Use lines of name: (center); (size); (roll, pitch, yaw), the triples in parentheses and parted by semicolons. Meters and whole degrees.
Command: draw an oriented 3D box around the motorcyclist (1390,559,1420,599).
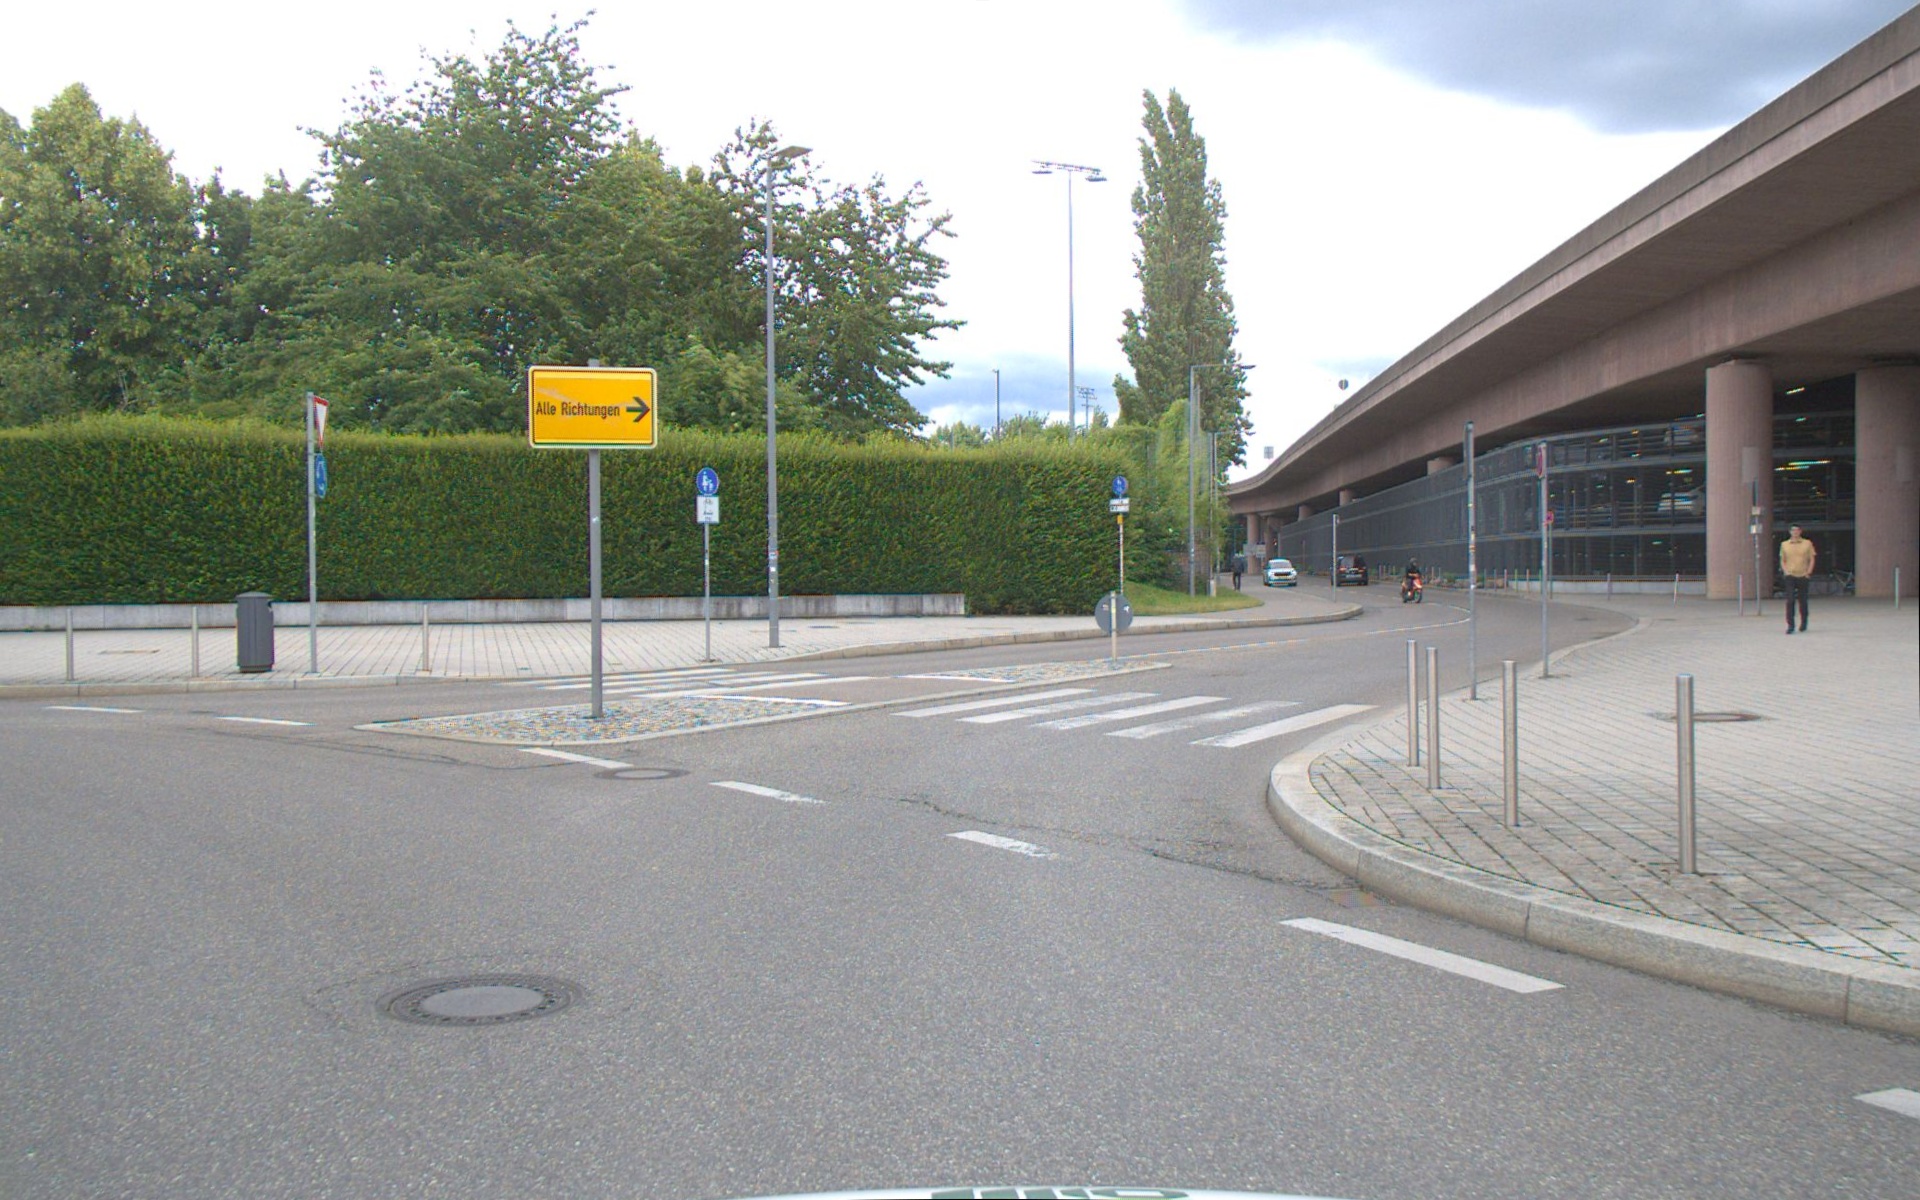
motorcyclist: (16.616, -0.800, 61.792); (0.748, 1.444, 0.867); (-2, 2, -11)

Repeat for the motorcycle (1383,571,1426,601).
motorcycle: (16.609, -0.534, 61.858); (0.733, 1.040, 1.951); (-2, 2, -11)

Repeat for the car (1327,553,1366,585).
car: (22.839, -1.849, 97.828); (1.800, 1.741, 3.709); (-1, 2, 7)

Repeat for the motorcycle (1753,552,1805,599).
motorcycle: (26.686, -0.806, 53.898); (0.630, 1.480, 1.759); (-2, 2, -9)

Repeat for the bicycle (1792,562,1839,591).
bicycle: (30.313, -0.841, 58.608); (1.446, 0.993, 0.450); (0, 2, 33)

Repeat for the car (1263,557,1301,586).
car: (20.404, -1.839, 104.928); (1.825, 1.712, 4.409); (-1, 2, 5)

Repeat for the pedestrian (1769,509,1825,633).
pedestrian: (14.194, -0.505, 28.043); (0.767, 2.048, 1.038); (0, 2, 30)

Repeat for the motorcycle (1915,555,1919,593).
motorcycle: (32.005, -0.860, 54.803); (0.512, 1.241, 1.146); (0, 2, 37)

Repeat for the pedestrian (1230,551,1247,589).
pedestrian: (13.426, -1.463, 79.765); (0.786, 1.811, 0.921); (-1, 2, 10)
